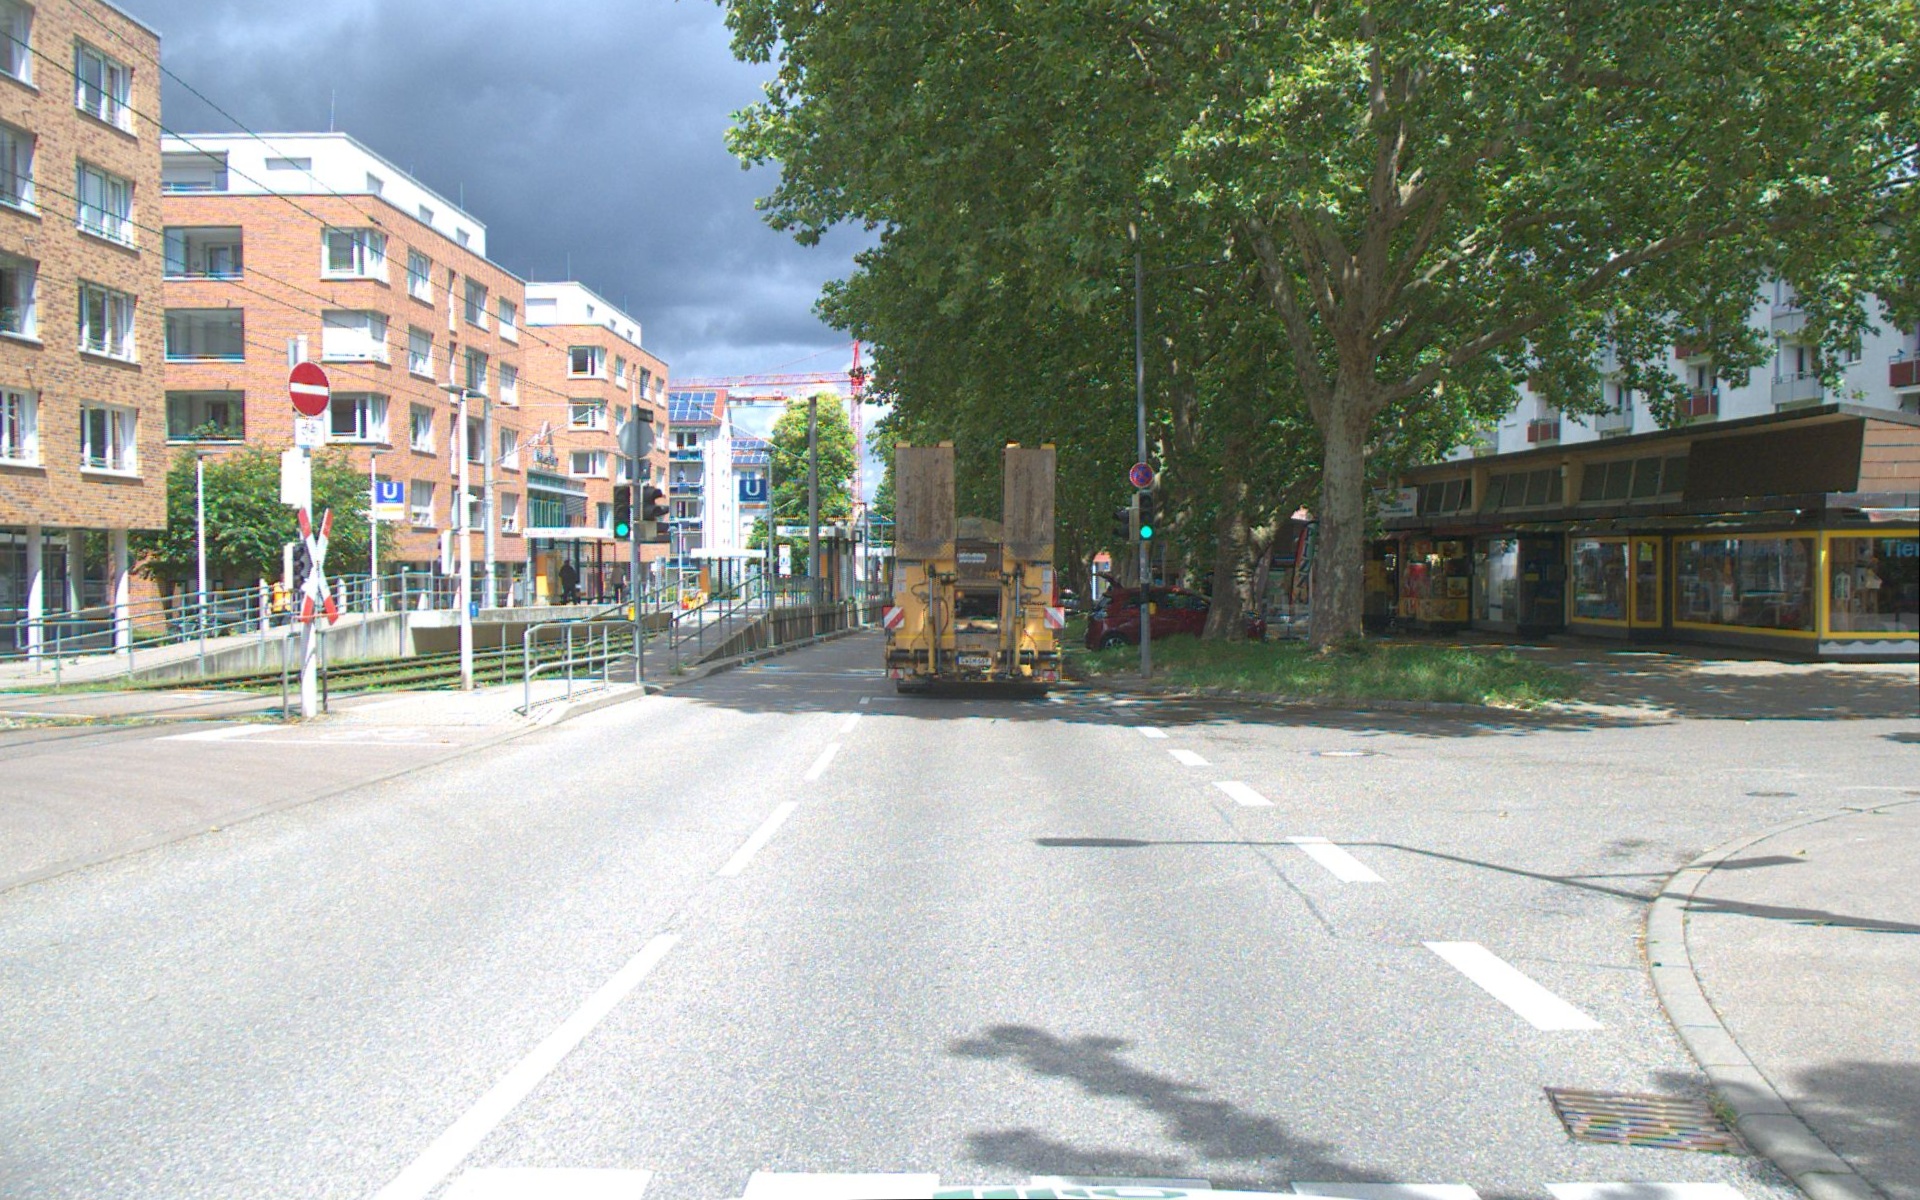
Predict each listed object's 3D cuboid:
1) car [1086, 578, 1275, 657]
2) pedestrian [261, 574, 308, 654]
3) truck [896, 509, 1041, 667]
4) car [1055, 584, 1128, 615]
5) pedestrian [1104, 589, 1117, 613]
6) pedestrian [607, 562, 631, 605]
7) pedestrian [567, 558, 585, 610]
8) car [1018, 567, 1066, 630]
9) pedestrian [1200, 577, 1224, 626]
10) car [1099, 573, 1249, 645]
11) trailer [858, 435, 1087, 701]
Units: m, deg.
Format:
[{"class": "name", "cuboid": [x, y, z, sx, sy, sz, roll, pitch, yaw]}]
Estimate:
[{"class": "car", "cuboid": [4.750, 0.371, 36.028, 3.945, 1.639, 1.731, -1, 0, 3]}, {"class": "pedestrian", "cuboid": [-15.893, 0.312, 38.933, 0.728, 1.857, 0.829, -1, 0, 0]}, {"class": "truck", "cuboid": [0.164, -0.259, 37.749, 2.928, 3.190, 7.887, 1, 0, 0]}, {"class": "car", "cuboid": [7.149, -0.019, 90.144, 3.755, 1.589, 1.618, -1, 0, -6]}, {"class": "pedestrian", "cuboid": [8.896, 0.076, 97.668, 0.681, 1.416, 0.512, -1, 0, -3]}, {"class": "pedestrian", "cuboid": [-13.305, -0.643, 64.547, 0.736, 1.657, 0.816, 1, 0, 1]}, {"class": "pedestrian", "cuboid": [-13.443, -0.561, 57.878, 0.523, 1.794, 0.528, 0, 0, -2]}, {"class": "car", "cuboid": [3.640, -0.065, 74.584, 1.865, 2.626, 6.834, -2, 0, 1]}, {"class": "pedestrian", "cuboid": [10.064, 0.079, 66.085, 0.728, 1.916, 0.941, -2, -1, 0]}, {"class": "car", "cuboid": [5.184, 0.211, 40.383, 3.339, 1.541, 1.609, -3, 0, -3]}, {"class": "trailer", "cuboid": [0.191, -0.446, 28.282, 3.089, 3.615, 11.096, 1, 0, 0]}]
